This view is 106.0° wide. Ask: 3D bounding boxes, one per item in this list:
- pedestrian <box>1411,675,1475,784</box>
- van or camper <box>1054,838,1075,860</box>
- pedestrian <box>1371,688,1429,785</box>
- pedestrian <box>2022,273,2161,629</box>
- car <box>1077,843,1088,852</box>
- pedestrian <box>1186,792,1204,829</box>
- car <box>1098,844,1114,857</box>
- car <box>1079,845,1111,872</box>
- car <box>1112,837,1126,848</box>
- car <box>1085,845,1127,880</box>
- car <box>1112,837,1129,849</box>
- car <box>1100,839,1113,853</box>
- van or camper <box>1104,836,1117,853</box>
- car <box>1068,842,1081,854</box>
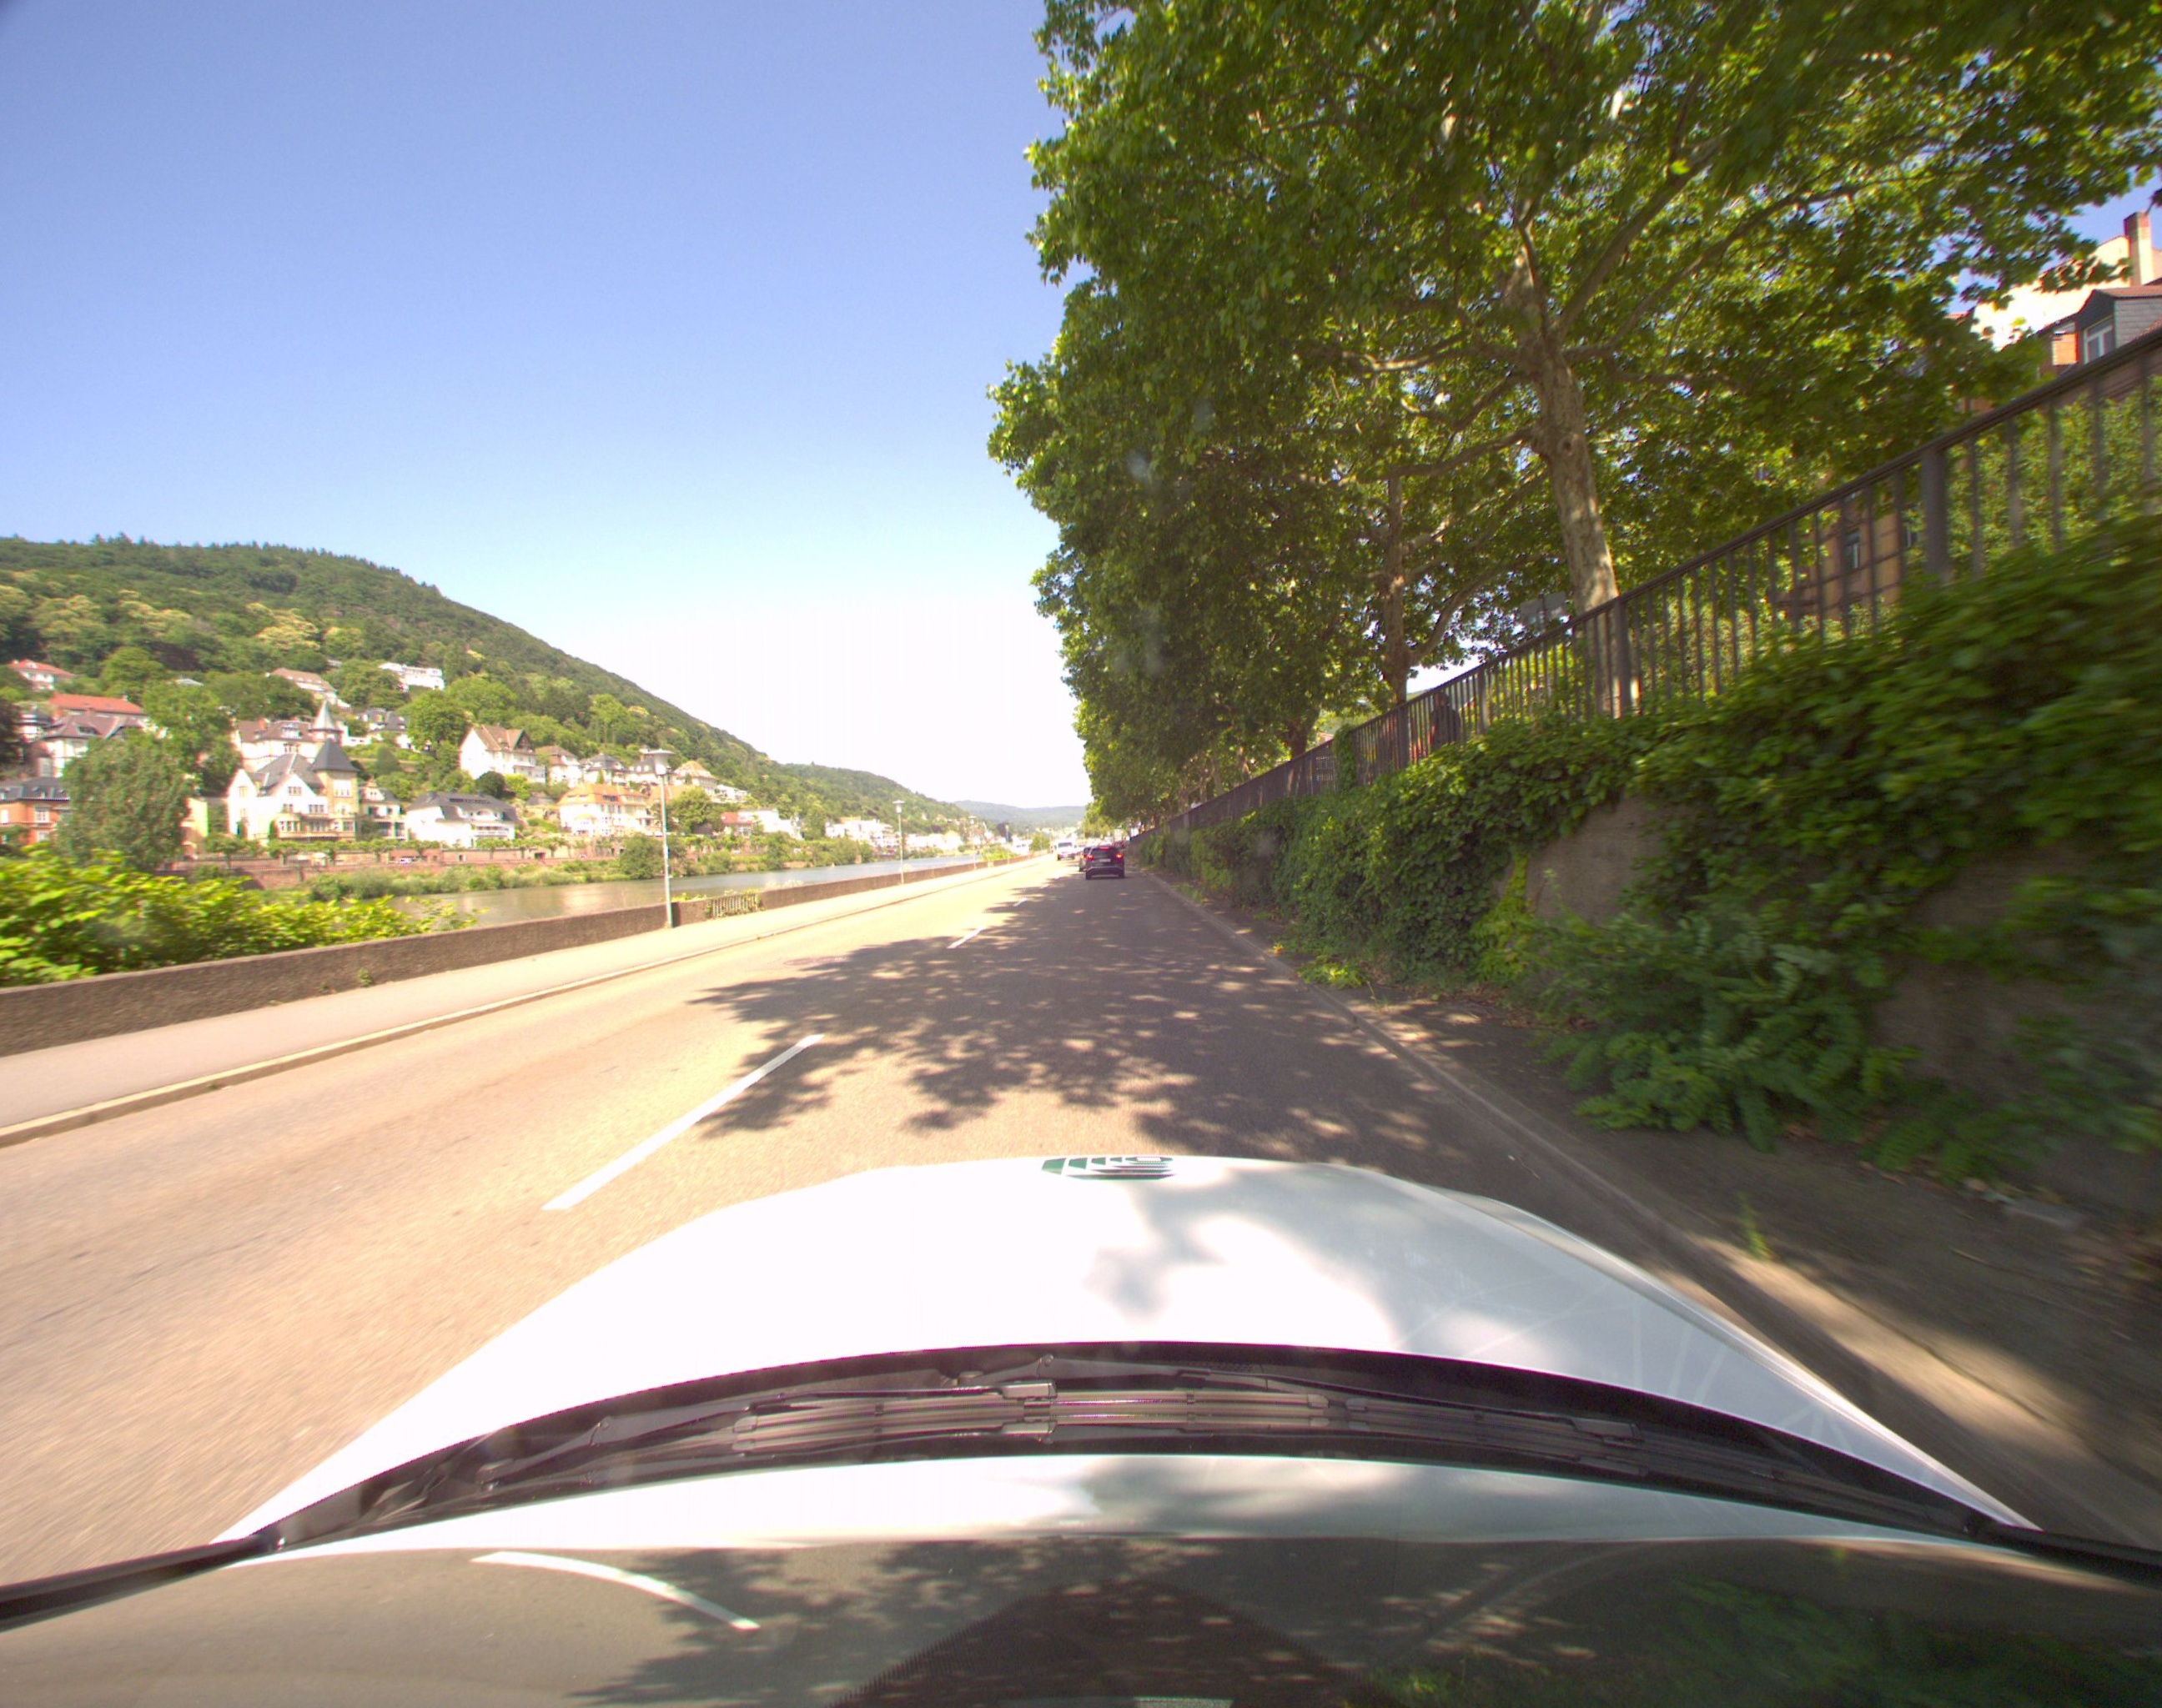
[{"bbox_3d":[5.805,-1.988,13.091,0.646,1.640,0.625,-3,0,-7],"label":"pedestrian"},{"bbox_3d":[-1.907,-0.634,94.800,2.070,2.398,5.387,-3,1,1],"label":"van or camper"},{"bbox_3d":[5.007,-1.837,12.821,0.584,1.419,0.588,-3,0,-7],"label":"pedestrian"},{"bbox_3d":[4.538,-1.632,3.231,0.708,1.243,0.742,-3,0,1],"label":"pedestrian"},{"bbox_3d":[0.268,-1.158,143.212,1.725,1.441,4.046,-4,1,1],"label":"car"},{"bbox_3d":[5.161,-1.963,36.816,0.662,1.591,0.651,-3,0,1],"label":"pedestrian"},{"bbox_3d":[3.085,-0.449,100.268,1.822,1.444,4.001,-3,1,1],"label":"car"},{"bbox_3d":[0.830,0.230,49.166,1.822,1.511,4.001,-2,1,1],"label":"car"},{"bbox_3d":[8.067,-2.458,174.983,2.652,2.013,5.825,-5,1,1],"label":"car"},{"bbox_3d":[1.123,0.354,38.144,1.822,1.486,4.001,-2,1,1],"label":"car"},{"bbox_3d":[8.021,-2.236,164.363,3.088,2.013,5.825,-5,1,1],"label":"car"},{"bbox_3d":[4.388,-1.374,139.470,1.987,2.169,4.000,-3,0,1],"label":"car"},{"bbox_3d":[5.568,-1.783,152.398,2.300,2.847,4.249,-3,0,3],"label":"van or camper"},{"bbox_3d":[-0.999,-0.922,122.117,1.725,1.650,4.178,-4,0,1],"label":"car"}]
